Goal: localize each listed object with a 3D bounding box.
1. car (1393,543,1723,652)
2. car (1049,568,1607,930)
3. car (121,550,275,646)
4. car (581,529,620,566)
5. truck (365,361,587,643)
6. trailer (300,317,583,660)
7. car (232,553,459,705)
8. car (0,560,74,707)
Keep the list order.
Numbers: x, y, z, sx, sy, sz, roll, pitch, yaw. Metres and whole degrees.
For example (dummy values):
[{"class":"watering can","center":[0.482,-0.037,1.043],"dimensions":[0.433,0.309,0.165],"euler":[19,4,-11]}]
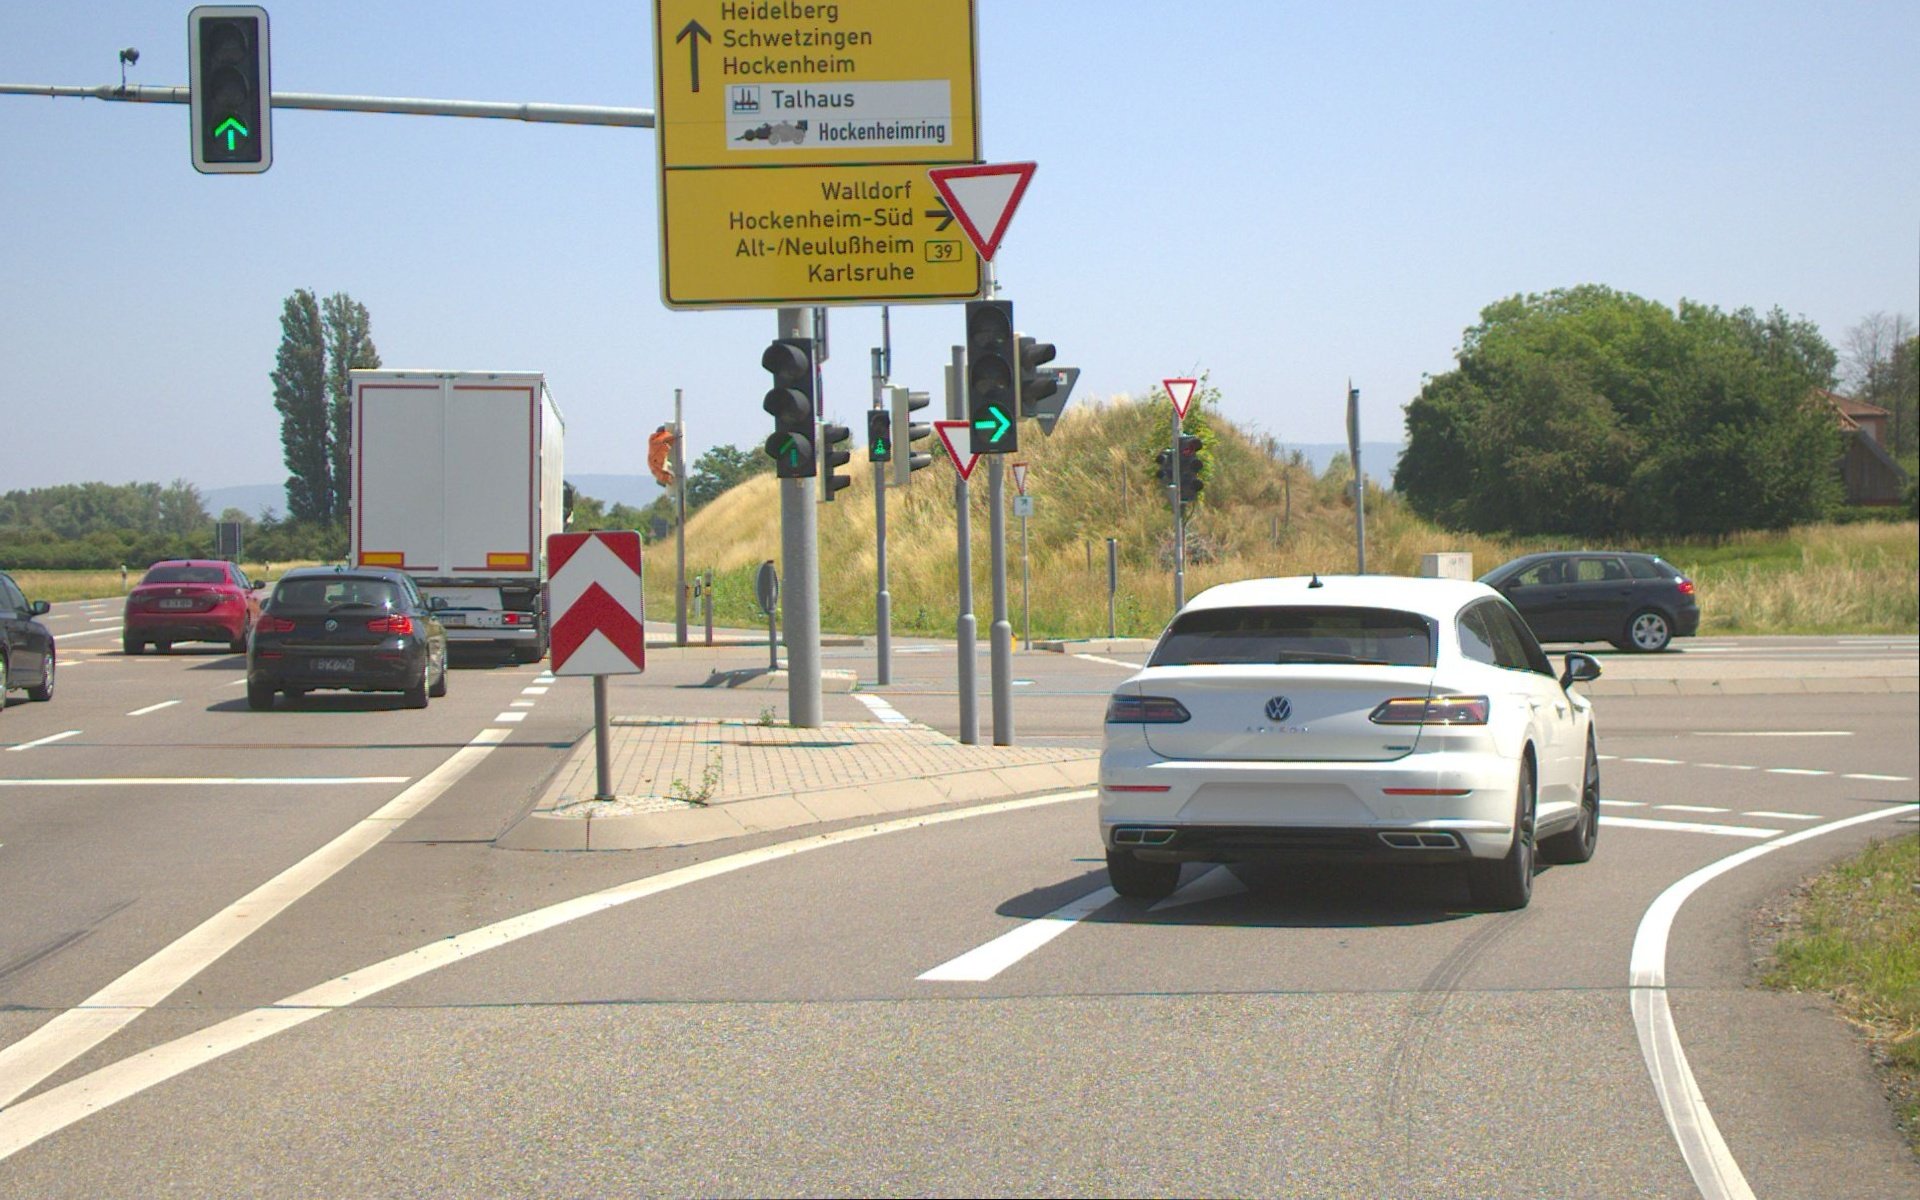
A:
[{"class":"car","center":[8.271,-0.046,47.786],"dimensions":[4.260,1.364,1.776],"euler":[-1,2,0]},{"class":"car","center":[1.877,0.574,16.061],"dimensions":[1.849,1.428,4.605],"euler":[0,0,16]},{"class":"car","center":[-11.971,-0.064,54.258],"dimensions":[1.749,1.416,4.567],"euler":[1,1,-5]},{"class":"car","center":[-18.912,-2.752,180.711],"dimensions":[1.980,1.863,4.468],"euler":[0,0,-7]},{"class":"truck","center":[-8.178,-1.626,58.866],"dimensions":[3.380,4.527,6.373],"euler":[1,1,-5]},{"class":"trailer","center":[-7.585,-1.558,52.103],"dimensions":[3.380,4.527,12.874],"euler":[1,1,-5]},{"class":"car","center":[-6.285,0.255,35.556],"dimensions":[1.784,1.426,4.381],"euler":[1,1,-3]},{"class":"car","center":[-10.130,0.305,34.409],"dimensions":[1.674,1.407,4.468],"euler":[0,0,-4]}]
